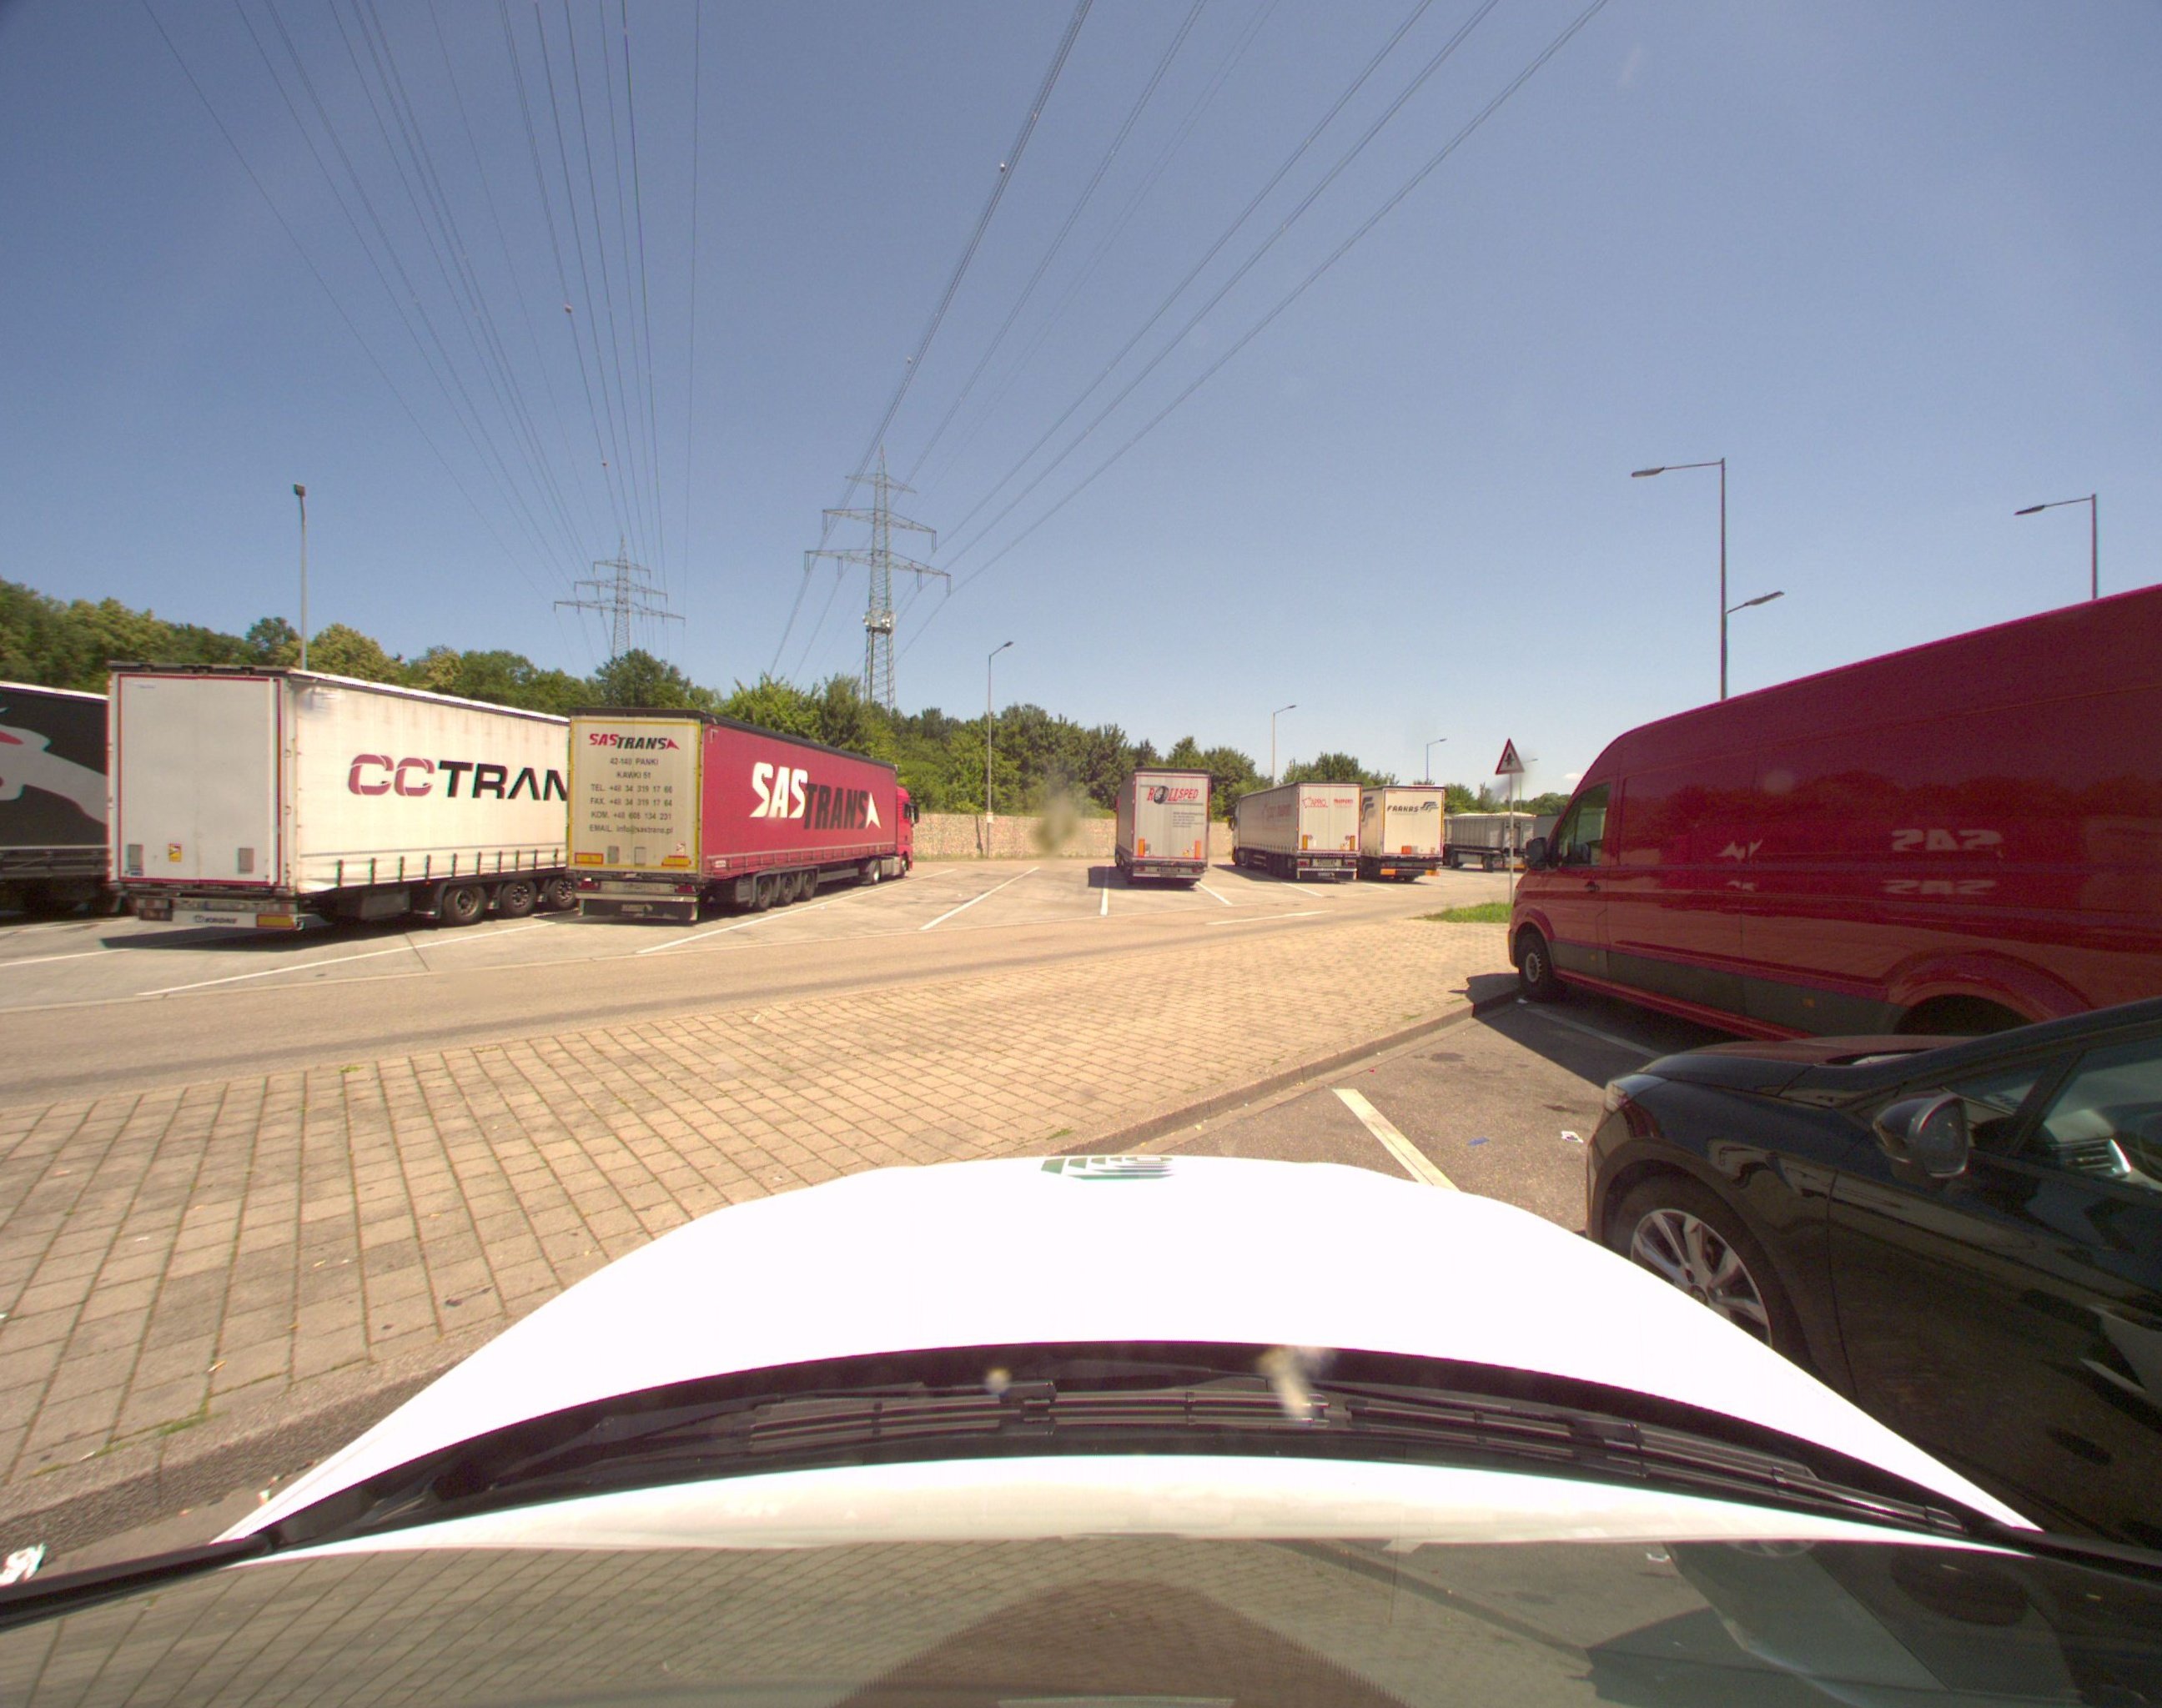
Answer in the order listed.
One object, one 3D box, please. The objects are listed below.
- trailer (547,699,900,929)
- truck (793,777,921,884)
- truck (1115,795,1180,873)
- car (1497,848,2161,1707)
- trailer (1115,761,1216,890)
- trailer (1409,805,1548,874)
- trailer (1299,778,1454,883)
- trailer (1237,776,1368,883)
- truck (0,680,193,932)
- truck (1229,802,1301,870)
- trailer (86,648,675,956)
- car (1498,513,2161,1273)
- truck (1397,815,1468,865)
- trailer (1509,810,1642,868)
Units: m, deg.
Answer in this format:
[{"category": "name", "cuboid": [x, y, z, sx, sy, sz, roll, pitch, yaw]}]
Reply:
[{"category": "trailer", "cuboid": [-8.038, -0.955, 21.663, 2.896, 4.131, 13.731, 1, 2, 2]}, {"category": "truck", "cuboid": [-7.801, -0.837, 29.099, 2.841, 3.427, 5.486, 1, 1, 2]}, {"category": "truck", "cuboid": [3.167, -0.988, 39.916, 2.841, 3.483, 5.486, 1, 1, 2]}, {"category": "car", "cuboid": [2.522, 0.755, 1.187, 1.733, 1.482, 3.813, -1, 1, -3]}, {"category": "trailer", "cuboid": [3.024, -1.102, 33.304, 2.896, 4.132, 13.727, 1, 2, 1]}, {"category": "trailer", "cuboid": [24.528, -0.996, 51.463, 2.826, 3.717, 13.737, 1, 2, 3]}, {"category": "trailer", "cuboid": [13.610, -1.118, 39.295, 2.828, 4.132, 13.730, 1, 2, 2]}, {"category": "trailer", "cuboid": [9.953, -1.152, 38.631, 2.828, 4.132, 13.730, 1, 2, 2]}, {"category": "truck", "cuboid": [-18.578, -0.805, 13.568, 2.692, 4.016, 4.326, 1, 2, 2]}, {"category": "truck", "cuboid": [10.161, -1.027, 45.442, 2.841, 3.483, 5.486, 1, 1, 2]}, {"category": "trailer", "cuboid": [-12.203, -0.891, 16.333, 2.718, 4.209, 10.175, 1, 2, 2]}, {"category": "car", "cuboid": [5.164, 0.088, 5.497, 2.055, 2.695, 6.405, -1, 1, 6]}, {"category": "truck", "cuboid": [24.916, -1.005, 57.962, 2.840, 3.364, 5.488, 1, 1, 3]}, {"category": "trailer", "cuboid": [38.369, -1.230, 64.149, 2.826, 4.049, 13.737, 1, 2, 3]}]
